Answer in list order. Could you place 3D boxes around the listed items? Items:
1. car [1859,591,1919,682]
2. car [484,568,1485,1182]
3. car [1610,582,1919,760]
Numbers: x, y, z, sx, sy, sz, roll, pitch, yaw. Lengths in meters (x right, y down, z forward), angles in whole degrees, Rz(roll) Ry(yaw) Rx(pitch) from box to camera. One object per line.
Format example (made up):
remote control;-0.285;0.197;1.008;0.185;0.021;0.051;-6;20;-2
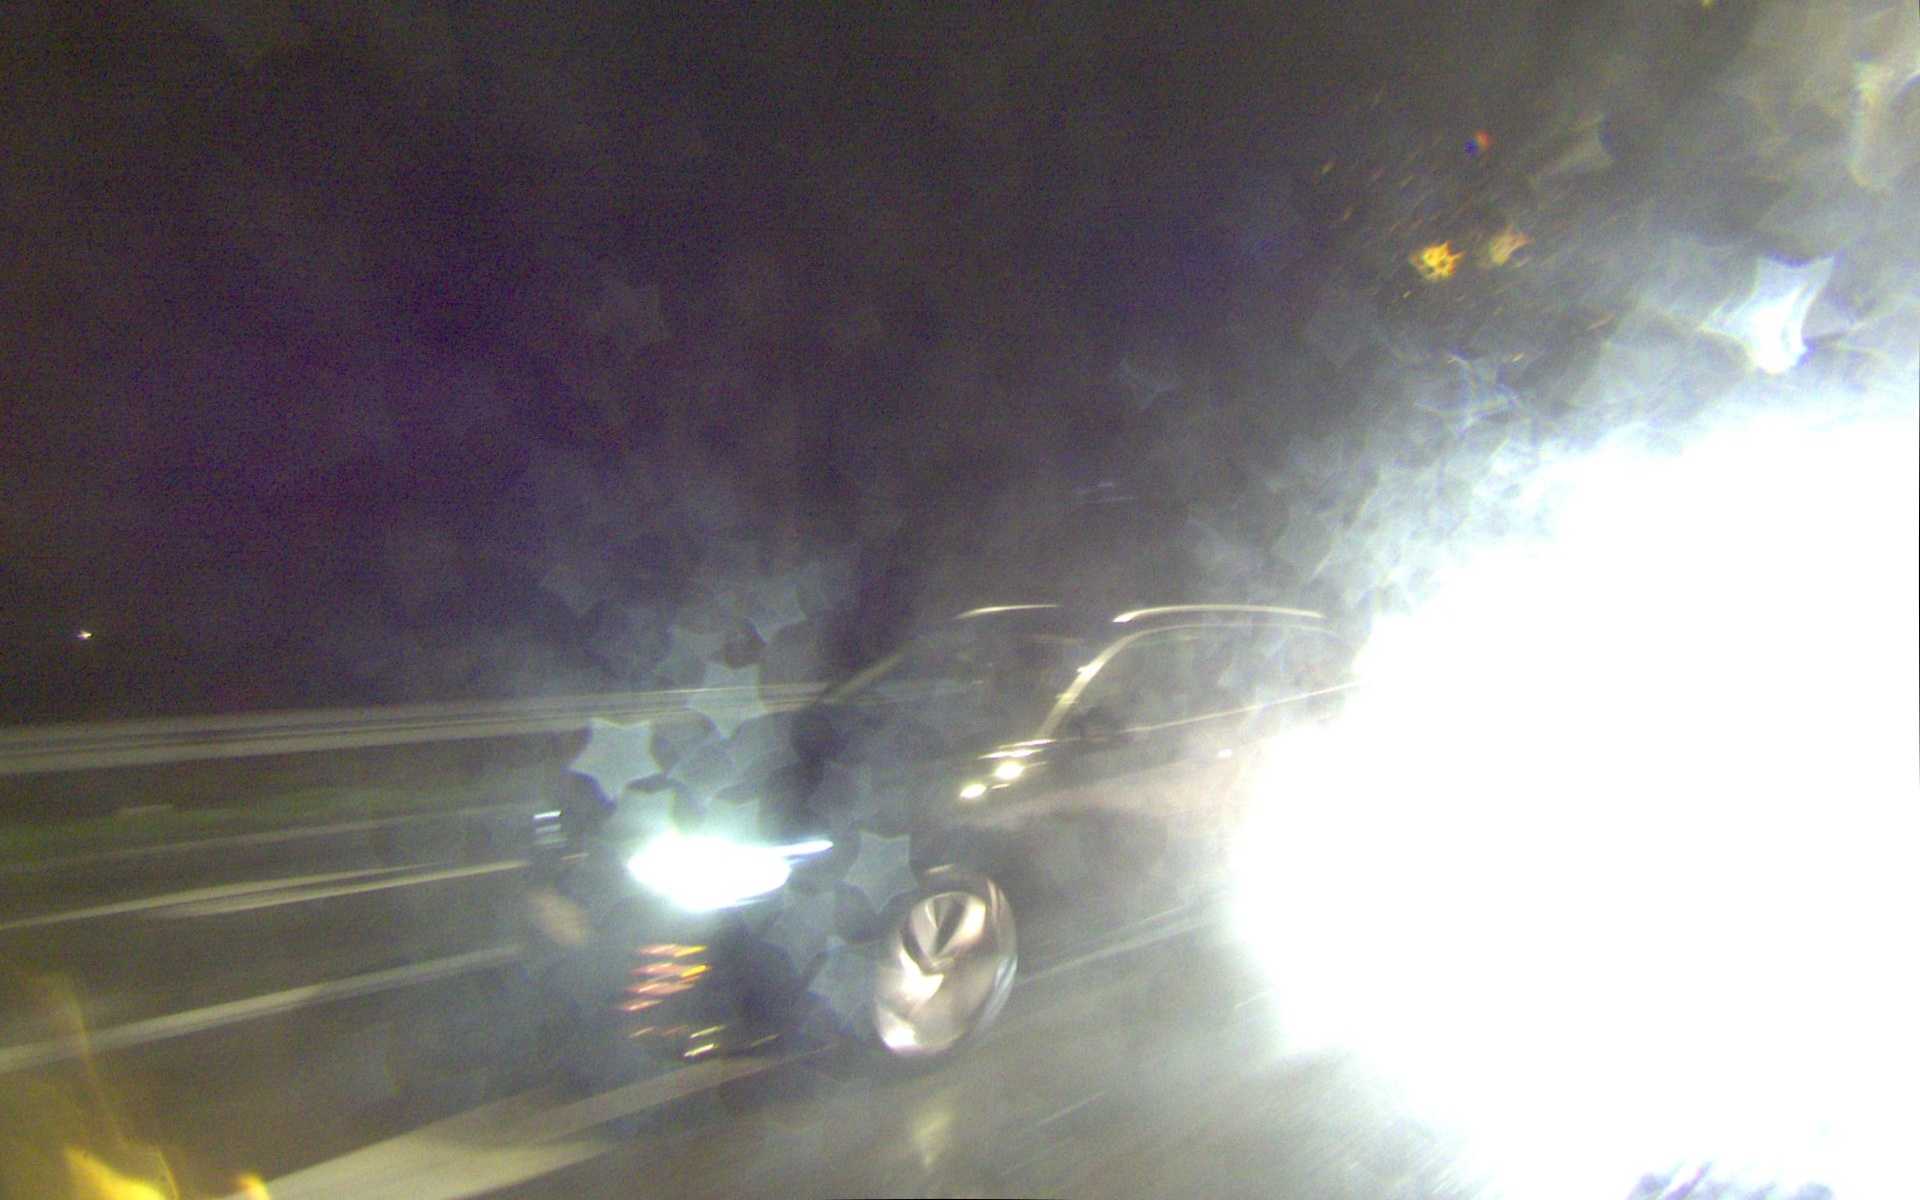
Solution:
car;17.270;0.570;17.561;4.064;1.435;1.743;-1;0;-37
car;0.463;0.672;4.597;4.477;1.526;1.676;-1;-1;-38
car;8.858;0.610;10.929;4.333;1.541;1.711;-1;0;-38
